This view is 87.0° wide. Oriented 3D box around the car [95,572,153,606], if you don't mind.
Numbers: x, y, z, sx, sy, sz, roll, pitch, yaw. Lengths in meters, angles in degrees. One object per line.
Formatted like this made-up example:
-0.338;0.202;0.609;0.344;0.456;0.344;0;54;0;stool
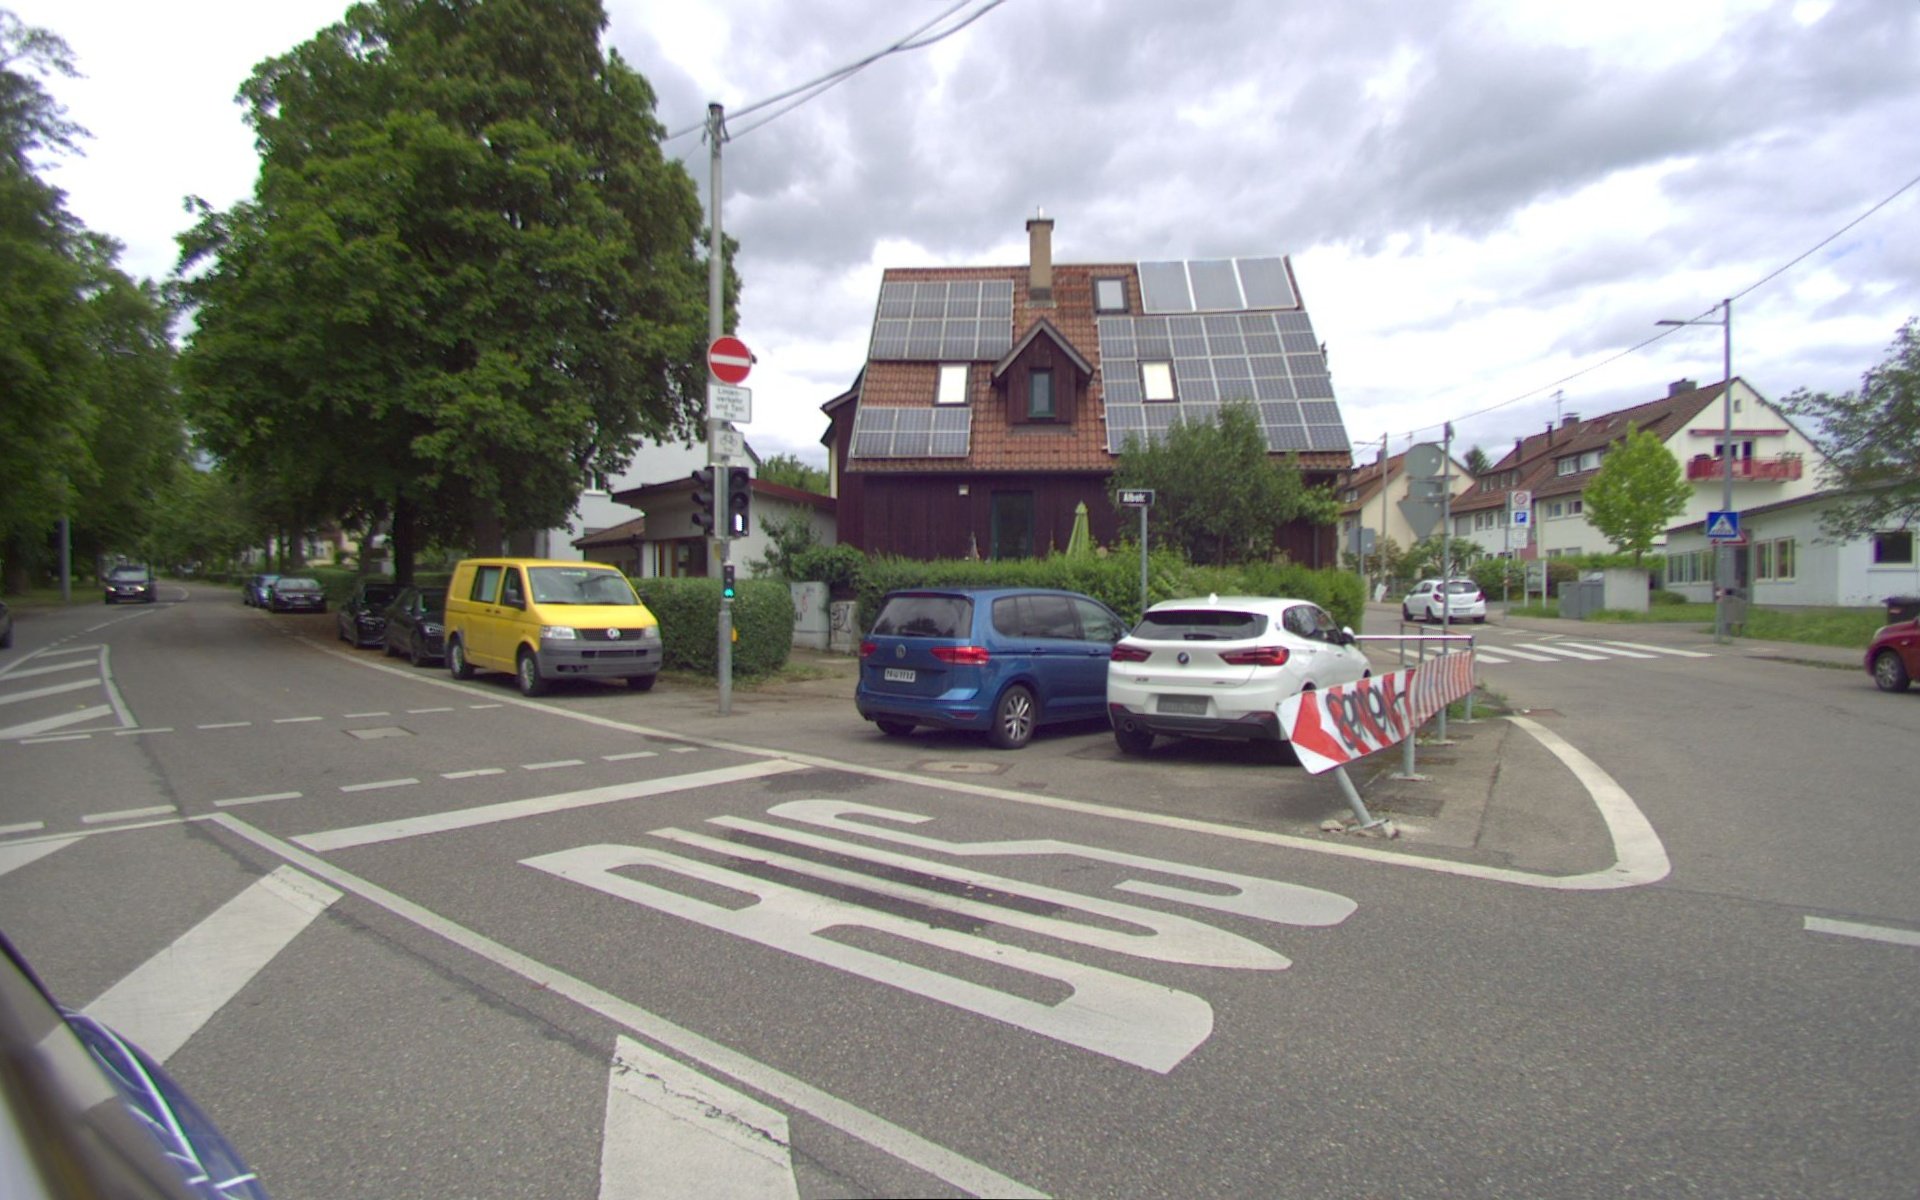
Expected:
-40.484;-0.542;49.109;1.967;1.607;4.009;0;1;-37;car

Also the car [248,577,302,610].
-30.229;-0.297;44.595;1.612;1.386;4.160;0;0;-39;car

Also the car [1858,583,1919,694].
13.841;0.520;12.859;1.752;1.501;3.679;0;0;5;car

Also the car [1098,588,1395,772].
3.070;0.644;10.291;1.840;1.483;3.860;0;0;34;car

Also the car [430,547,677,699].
-6.437;0.258;15.693;1.894;2.004;4.804;0;1;-44;car

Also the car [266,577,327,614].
-26.373;-0.200;40.155;1.823;1.386;4.604;1;0;-36;car

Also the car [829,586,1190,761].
0.717;0.657;11.194;1.845;1.558;4.121;0;0;41;car

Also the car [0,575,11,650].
-20.453;0.297;20.162;1.786;1.540;4.010;0;2;-36;car

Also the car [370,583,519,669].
-10.323;0.434;20.086;1.723;1.461;4.522;0;1;-39;car

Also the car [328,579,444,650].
-13.585;0.280;23.825;1.722;1.461;4.603;0;1;-38;car

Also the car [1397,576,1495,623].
16.371;-0.005;34.279;1.752;1.501;3.679;0;0;5;car

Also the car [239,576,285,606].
-33.328;-0.427;48.322;1.517;1.386;3.779;0;0;-39;car
